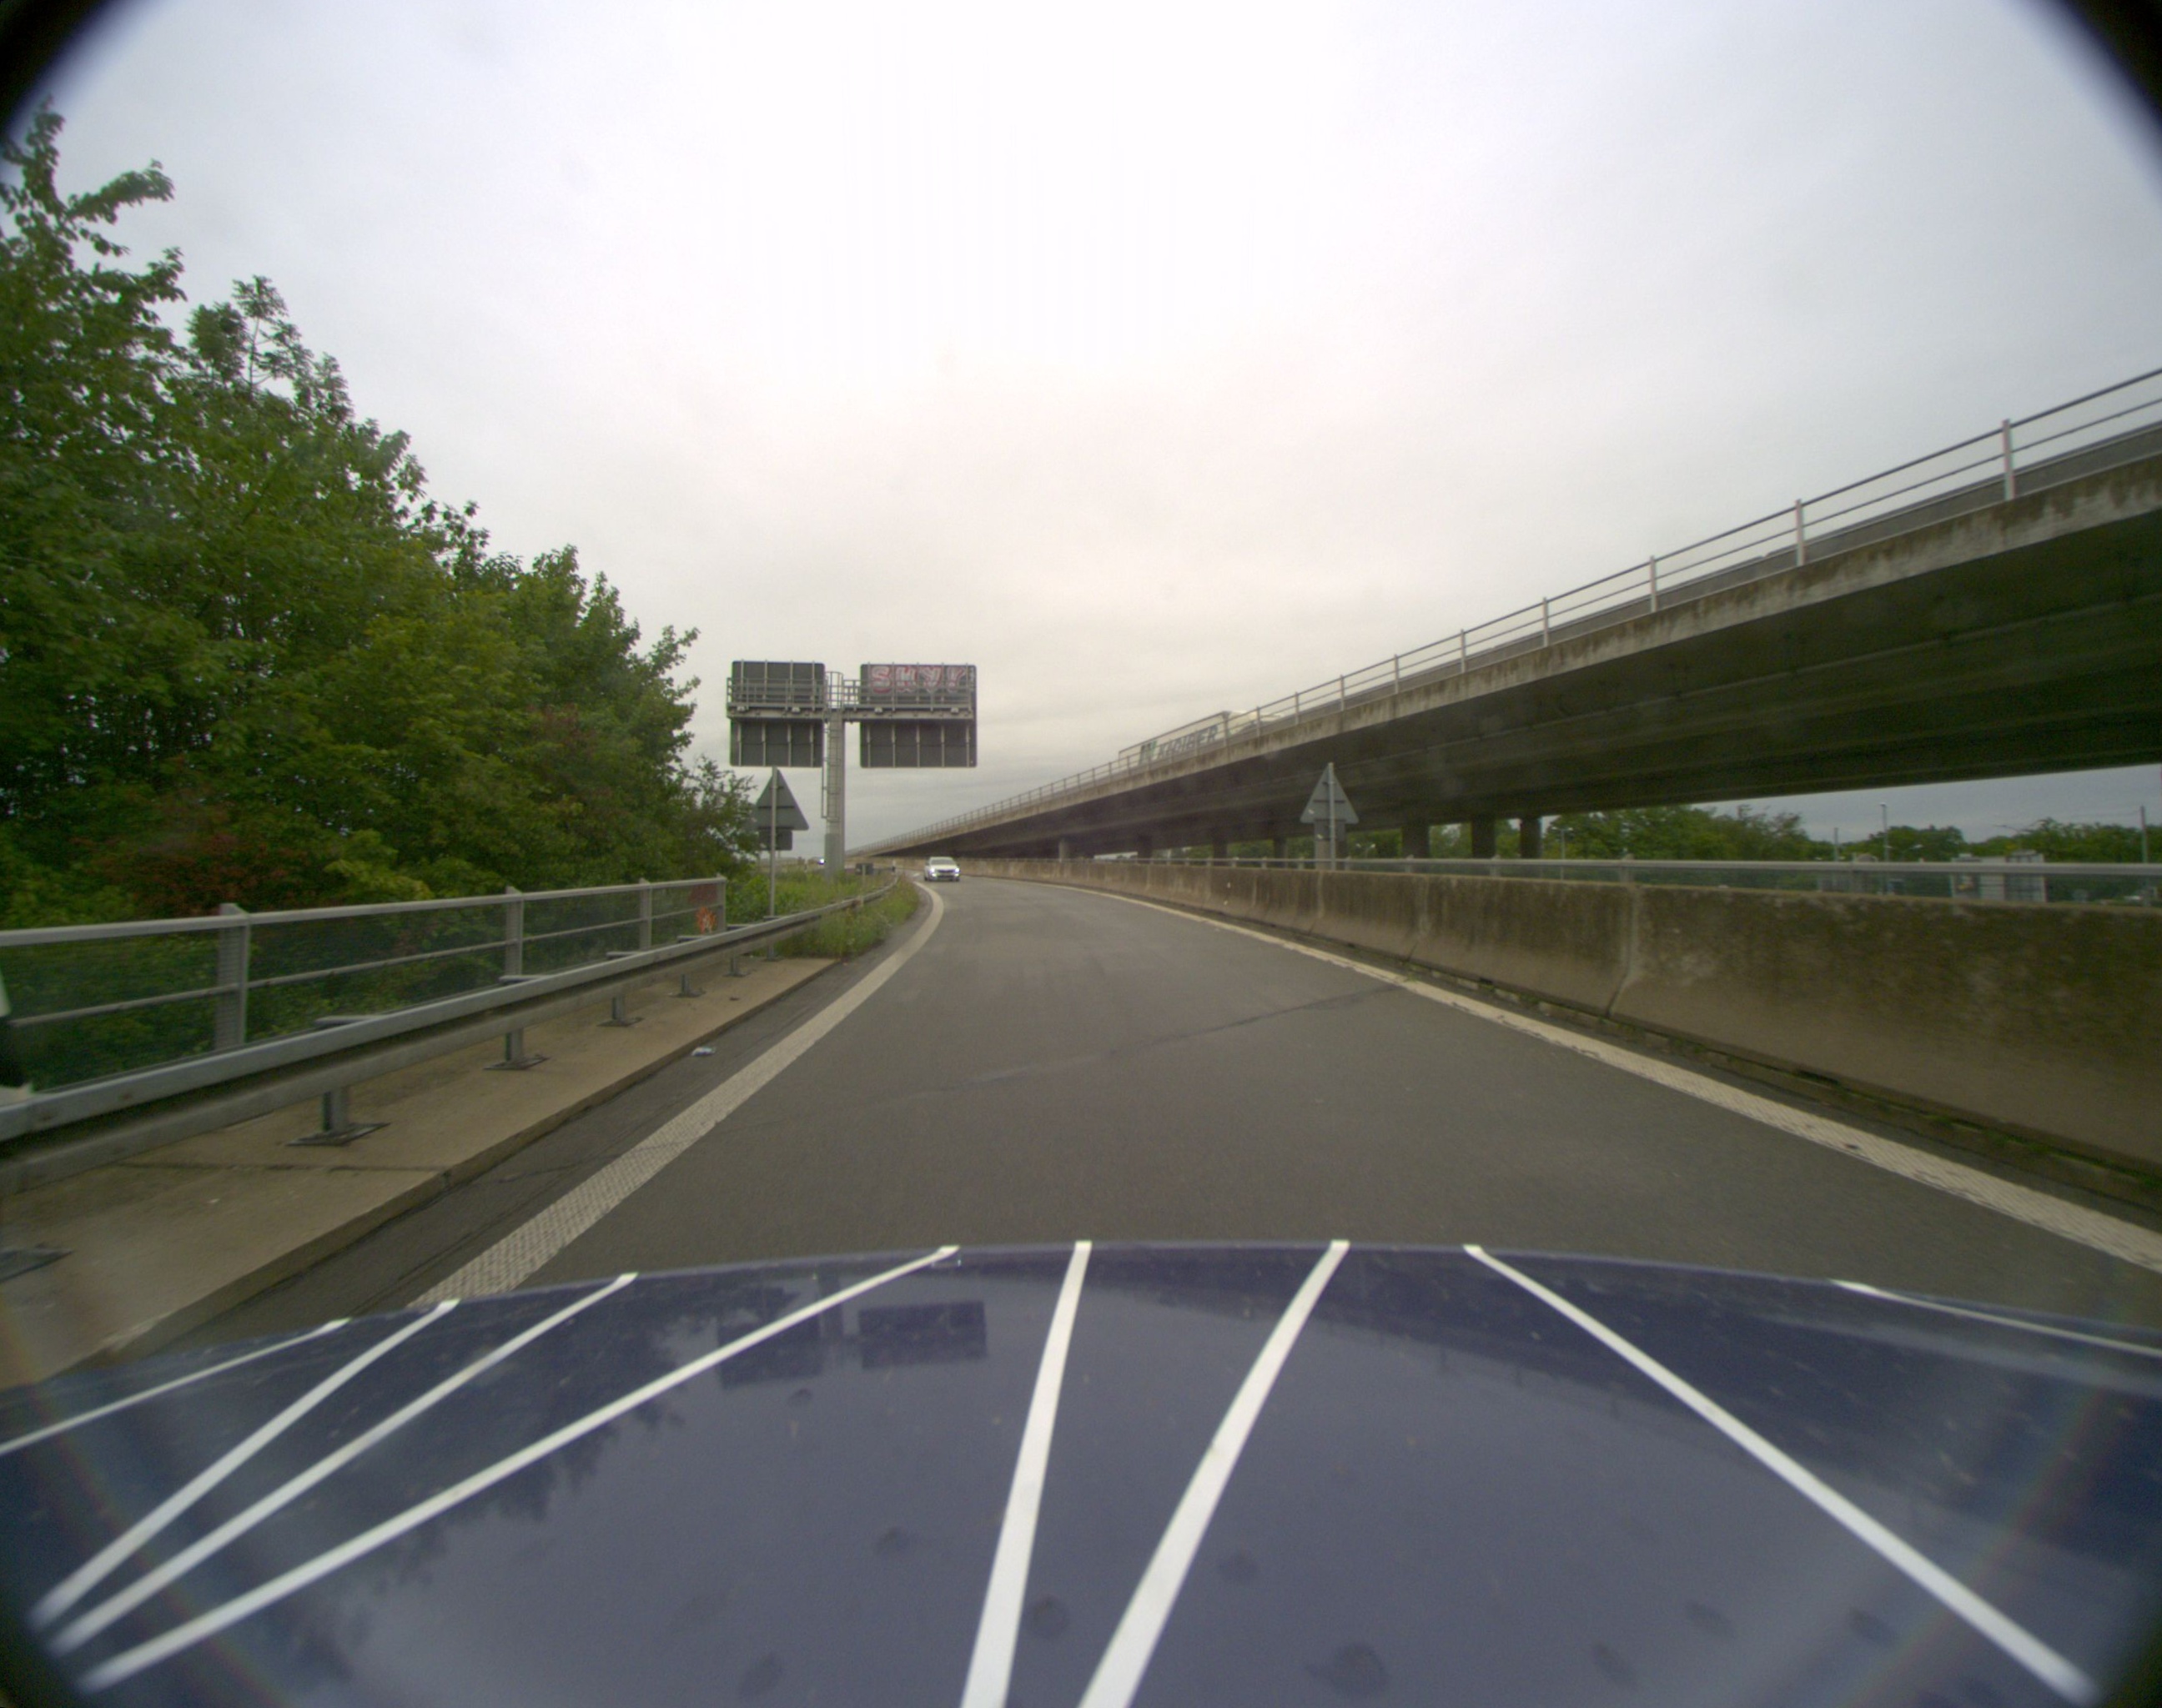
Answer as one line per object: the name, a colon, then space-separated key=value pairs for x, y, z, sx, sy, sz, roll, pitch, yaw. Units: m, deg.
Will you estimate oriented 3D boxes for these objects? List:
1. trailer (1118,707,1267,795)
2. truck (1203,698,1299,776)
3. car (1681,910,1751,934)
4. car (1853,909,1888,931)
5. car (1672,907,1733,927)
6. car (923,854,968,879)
trailer: x=6.490 y=-6.141 z=48.242 sx=2.669 sy=3.278 sz=14.038 roll=-1 pitch=-1 yaw=-22
truck: x=9.152 y=-6.260 z=41.546 sx=2.600 sy=3.226 sz=5.187 roll=-1 pitch=-2 yaw=-21
car: x=56.469 y=6.002 z=67.627 sx=1.813 sy=1.739 sz=4.356 roll=-3 pitch=0 yaw=-30
car: x=86.826 y=7.233 z=83.617 sx=1.994 sy=2.002 sz=4.567 roll=1 pitch=0 yaw=38
car: x=58.429 y=5.887 z=71.465 sx=1.851 sy=1.608 sz=3.991 roll=-3 pitch=0 yaw=-30
car: x=-8.161 y=0.733 z=45.579 sx=1.918 sy=1.439 sz=4.549 roll=2 pitch=-1 yaw=-19
